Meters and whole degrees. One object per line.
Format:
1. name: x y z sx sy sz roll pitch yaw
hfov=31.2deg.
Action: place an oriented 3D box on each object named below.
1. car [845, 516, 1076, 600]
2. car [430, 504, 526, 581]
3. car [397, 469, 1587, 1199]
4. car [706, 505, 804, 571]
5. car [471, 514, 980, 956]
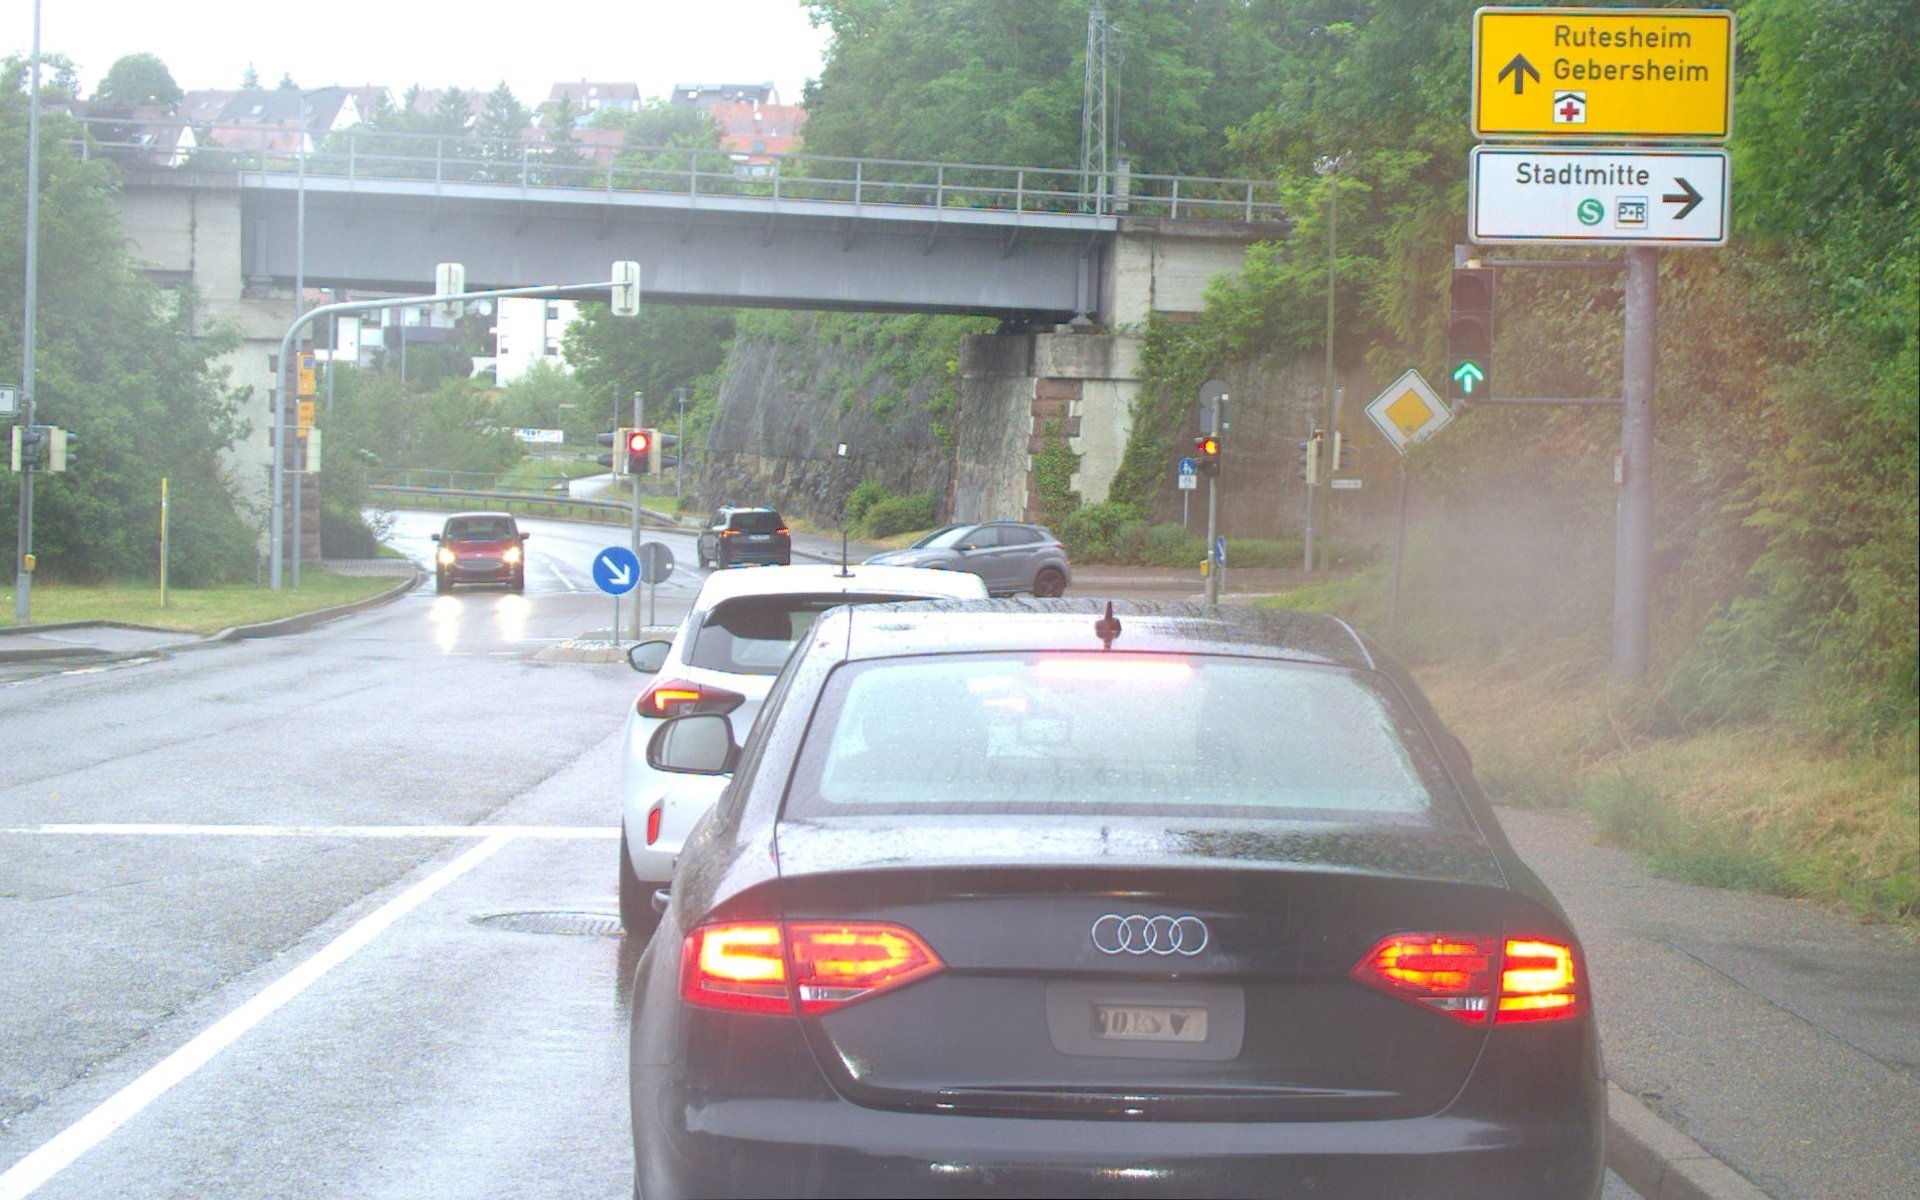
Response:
1. car: 0.016 -0.792 64.798 3.986 1.465 1.645 1 1 -24
2. car: -10.481 -1.249 74.903 1.993 1.622 4.001 0 1 -7
3. car: 0.024 0.610 7.427 1.870 1.611 4.000 1 0 -1
4. car: -5.121 -1.544 85.418 1.993 1.590 4.001 -1 1 -10
5. car: -0.871 0.490 14.410 1.823 1.579 4.000 1 0 -1
